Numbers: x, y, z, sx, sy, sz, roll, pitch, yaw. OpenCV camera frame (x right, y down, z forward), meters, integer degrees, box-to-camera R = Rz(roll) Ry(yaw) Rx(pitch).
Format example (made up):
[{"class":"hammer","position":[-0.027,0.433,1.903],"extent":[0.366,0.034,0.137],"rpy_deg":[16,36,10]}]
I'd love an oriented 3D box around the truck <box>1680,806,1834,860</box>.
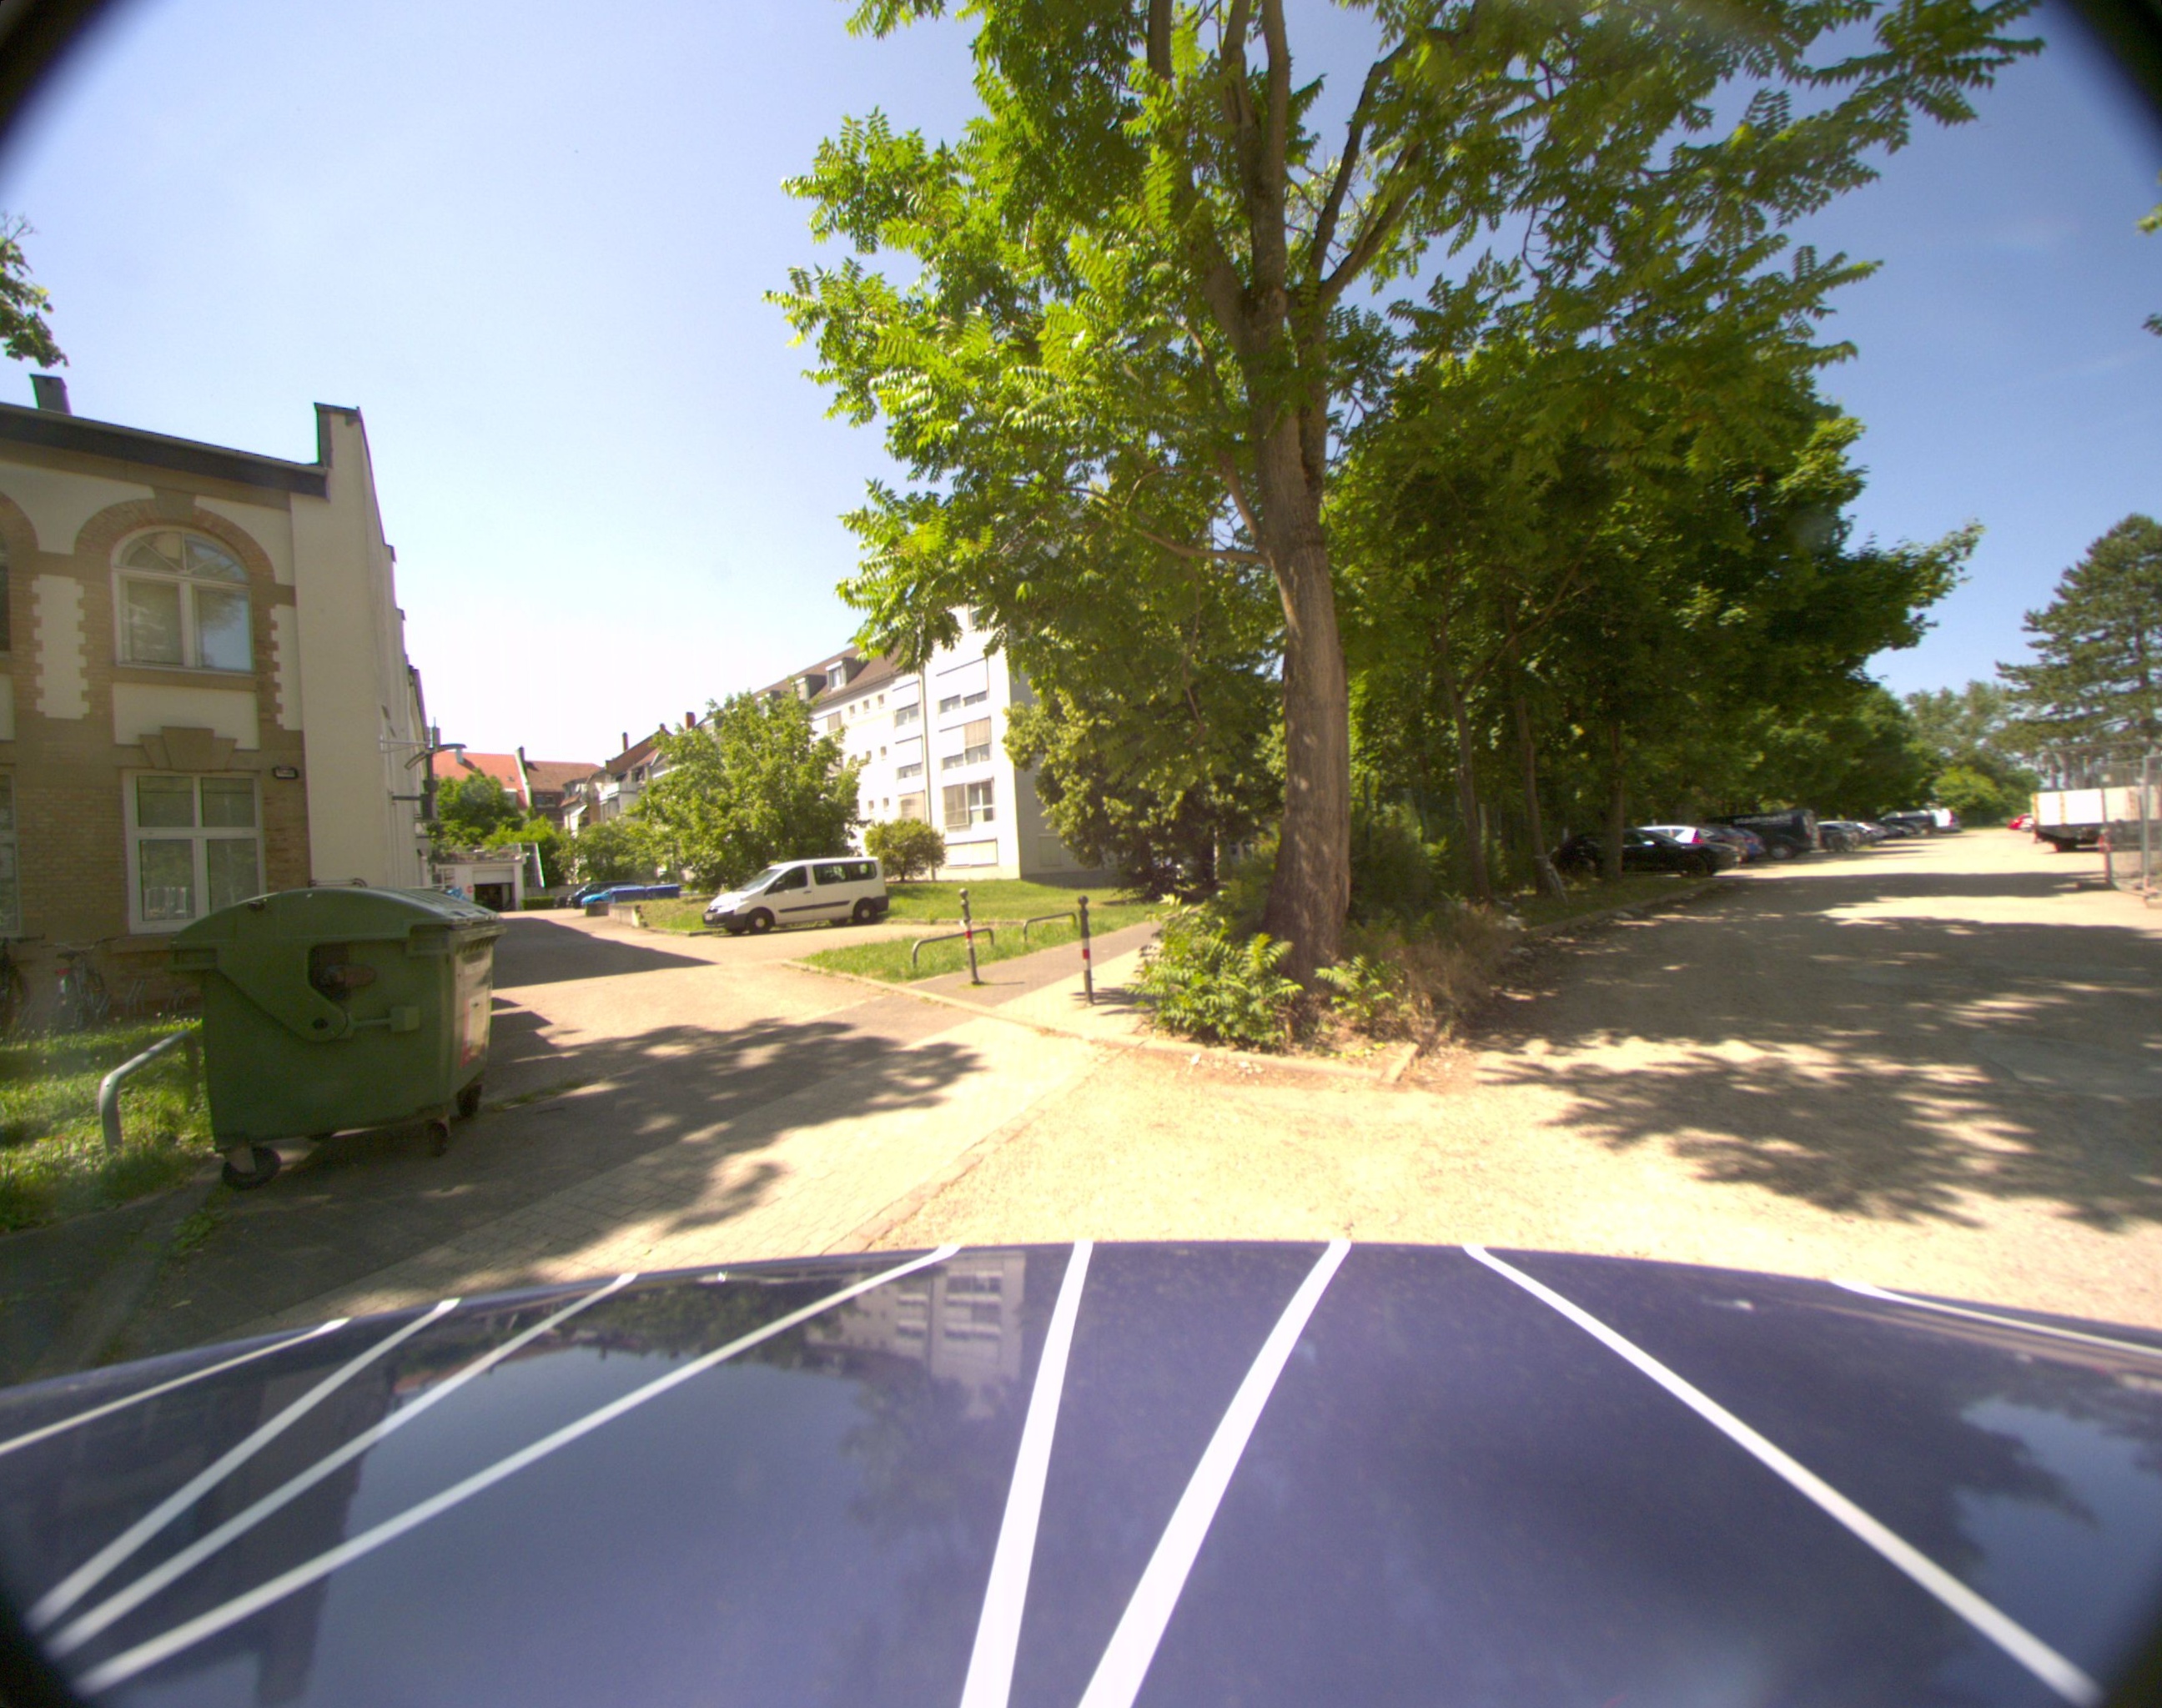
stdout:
[{"class":"truck","position":[27.984,-0.820,31.581],"extent":[2.003,1.982,4.447],"rpy_deg":[-3,1,-38]}]

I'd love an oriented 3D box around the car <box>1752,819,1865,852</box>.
[{"class":"car","position":[35.931,-0.898,37.602],"extent":[1.744,1.401,3.780],"rpy_deg":[-3,1,-38]}]

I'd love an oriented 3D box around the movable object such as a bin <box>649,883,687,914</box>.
[{"class":"movable object such as a bin","position":[-18.608,1.996,34.252],"extent":[1.260,1.320,1.101],"rpy_deg":[-4,0,-40]}]

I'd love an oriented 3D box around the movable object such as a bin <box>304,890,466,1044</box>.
[{"class":"movable object such as a bin","position":[-8.051,1.217,8.788],"extent":[1.458,1.497,1.161],"rpy_deg":[-2,2,41]}]

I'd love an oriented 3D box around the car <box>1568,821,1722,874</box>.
[{"class":"car","position":[18.870,-0.185,25.535],"extent":[1.851,1.625,3.780],"rpy_deg":[-3,1,-40]}]

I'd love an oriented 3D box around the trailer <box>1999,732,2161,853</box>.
[{"class":"trailer","position":[33.715,-1.951,25.159],"extent":[8.785,3.401,3.035],"rpy_deg":[-3,1,-32]}]

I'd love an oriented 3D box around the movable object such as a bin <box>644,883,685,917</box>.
[{"class":"movable object such as a bin","position":[-17.837,1.953,32.536],"extent":[1.260,1.320,1.101],"rpy_deg":[-4,0,-40]}]

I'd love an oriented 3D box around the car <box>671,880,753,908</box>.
[{"class":"car","position":[-21.968,2.382,45.300],"extent":[4.008,1.428,1.707],"rpy_deg":[-2,-1,-43]}]

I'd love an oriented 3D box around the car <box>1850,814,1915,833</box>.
[{"class":"car","position":[70.598,-2.699,66.986],"extent":[1.744,1.401,3.780],"rpy_deg":[-3,1,-38]}]

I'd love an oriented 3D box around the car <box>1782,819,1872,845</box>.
[{"class":"car","position":[46.102,-1.355,47.000],"extent":[1.744,1.401,3.780],"rpy_deg":[-3,1,-38]}]

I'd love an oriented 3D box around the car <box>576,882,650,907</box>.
[{"class":"car","position":[-33.938,2.898,55.174],"extent":[4.178,1.544,1.855],"rpy_deg":[-2,-1,-45]}]

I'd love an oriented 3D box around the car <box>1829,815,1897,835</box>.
[{"class":"car","position":[64.856,-2.380,63.073],"extent":[1.744,1.401,3.780],"rpy_deg":[-3,1,-38]}]

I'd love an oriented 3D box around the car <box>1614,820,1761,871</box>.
[{"class":"car","position":[21.608,-0.278,27.175],"extent":[1.851,1.625,3.780],"rpy_deg":[-3,1,-40]}]

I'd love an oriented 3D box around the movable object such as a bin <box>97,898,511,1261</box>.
[{"class":"movable object such as a bin","position":[-4.054,1.045,4.201],"extent":[1.184,1.461,1.330],"rpy_deg":[-3,1,-28]}]

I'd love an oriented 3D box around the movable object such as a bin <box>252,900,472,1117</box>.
[{"class":"movable object such as a bin","position":[-6.023,1.182,6.428],"extent":[1.185,1.461,1.308],"rpy_deg":[-4,2,-44]}]

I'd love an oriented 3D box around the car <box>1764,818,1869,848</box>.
[{"class":"car","position":[39.154,-1.089,40.509],"extent":[1.744,1.401,3.780],"rpy_deg":[-3,1,-38]}]

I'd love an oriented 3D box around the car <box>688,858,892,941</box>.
[{"class":"car","position":[-7.946,1.181,21.113],"extent":[4.813,1.899,1.995],"rpy_deg":[-2,-2,-45]}]

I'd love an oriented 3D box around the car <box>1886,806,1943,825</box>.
[{"class":"car","position":[86.153,-4.006,78.568],"extent":[1.744,1.711,3.780],"rpy_deg":[-3,1,-38]}]

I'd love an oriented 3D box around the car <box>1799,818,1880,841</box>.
[{"class":"car","position":[52.728,-1.691,52.887],"extent":[1.744,1.401,3.780],"rpy_deg":[-3,1,-38]}]

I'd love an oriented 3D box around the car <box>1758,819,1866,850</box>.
[{"class":"car","position":[37.563,-0.986,39.118],"extent":[1.744,1.401,3.780],"rpy_deg":[-3,1,-38]}]

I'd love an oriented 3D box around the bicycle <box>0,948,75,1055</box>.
[{"class":"bicycle","position":[-12.487,1.698,8.847],"extent":[0.456,1.061,1.831],"rpy_deg":[-3,0,-39]}]

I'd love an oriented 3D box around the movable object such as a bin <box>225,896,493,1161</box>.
[{"class":"movable object such as a bin","position":[-5.049,1.082,5.370],"extent":[1.308,1.461,1.185],"rpy_deg":[-1,2,45]}]

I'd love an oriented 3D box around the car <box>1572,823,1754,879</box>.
[{"class":"car","position":[17.262,-0.043,22.678],"extent":[1.693,1.494,3.990],"rpy_deg":[-3,1,-39]}]

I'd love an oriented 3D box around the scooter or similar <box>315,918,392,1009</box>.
[{"class":"scooter or similar","position":[-10.266,1.514,10.713],"extent":[1.253,1.167,0.466],"rpy_deg":[-2,1,33]}]

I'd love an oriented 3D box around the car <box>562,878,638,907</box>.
[{"class":"car","position":[-35.999,2.831,56.924],"extent":[4.459,1.821,1.995],"rpy_deg":[-3,1,-43]}]

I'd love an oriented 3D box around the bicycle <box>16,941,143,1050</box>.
[{"class":"bicycle","position":[-12.078,1.657,9.218],"extent":[0.456,1.061,1.831],"rpy_deg":[-3,0,-39]}]

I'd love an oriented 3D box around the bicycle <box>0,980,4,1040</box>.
[{"class":"bicycle","position":[-12.896,1.719,8.460],"extent":[0.505,1.061,1.831],"rpy_deg":[-3,0,-39]}]

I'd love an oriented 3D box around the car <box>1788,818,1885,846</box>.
[{"class":"car","position":[43.463,-1.240,43.762],"extent":[1.744,1.401,3.780],"rpy_deg":[-3,1,-38]}]

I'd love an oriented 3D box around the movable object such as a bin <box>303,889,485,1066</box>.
[{"class":"movable object such as a bin","position":[-6.831,1.129,7.553],"extent":[1.308,1.461,1.185],"rpy_deg":[-1,2,44]}]

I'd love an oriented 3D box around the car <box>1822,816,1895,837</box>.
[{"class":"car","position":[60.978,-2.152,59.644],"extent":[1.744,1.401,3.780],"rpy_deg":[-3,1,-38]}]

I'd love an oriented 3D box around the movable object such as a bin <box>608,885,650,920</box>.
[{"class":"movable object such as a bin","position":[-18.868,2.013,31.704],"extent":[1.260,1.320,1.101],"rpy_deg":[-4,0,-40]}]

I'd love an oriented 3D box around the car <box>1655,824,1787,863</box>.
[{"class":"car","position":[25.515,-0.393,30.374],"extent":[1.744,1.401,3.780],"rpy_deg":[-3,1,-40]}]

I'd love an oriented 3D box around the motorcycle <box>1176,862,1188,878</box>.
[{"class":"motorcycle","position":[7.709,1.199,58.135],"extent":[0.699,1.161,2.313],"rpy_deg":[-3,0,11]}]

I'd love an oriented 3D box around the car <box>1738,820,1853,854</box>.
[{"class":"car","position":[34.105,-0.796,36.347],"extent":[1.744,1.401,3.780],"rpy_deg":[-3,1,-38]}]

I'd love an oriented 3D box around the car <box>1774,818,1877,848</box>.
[{"class":"car","position":[40.657,-1.126,41.563],"extent":[1.744,1.401,3.780],"rpy_deg":[-3,1,-38]}]
